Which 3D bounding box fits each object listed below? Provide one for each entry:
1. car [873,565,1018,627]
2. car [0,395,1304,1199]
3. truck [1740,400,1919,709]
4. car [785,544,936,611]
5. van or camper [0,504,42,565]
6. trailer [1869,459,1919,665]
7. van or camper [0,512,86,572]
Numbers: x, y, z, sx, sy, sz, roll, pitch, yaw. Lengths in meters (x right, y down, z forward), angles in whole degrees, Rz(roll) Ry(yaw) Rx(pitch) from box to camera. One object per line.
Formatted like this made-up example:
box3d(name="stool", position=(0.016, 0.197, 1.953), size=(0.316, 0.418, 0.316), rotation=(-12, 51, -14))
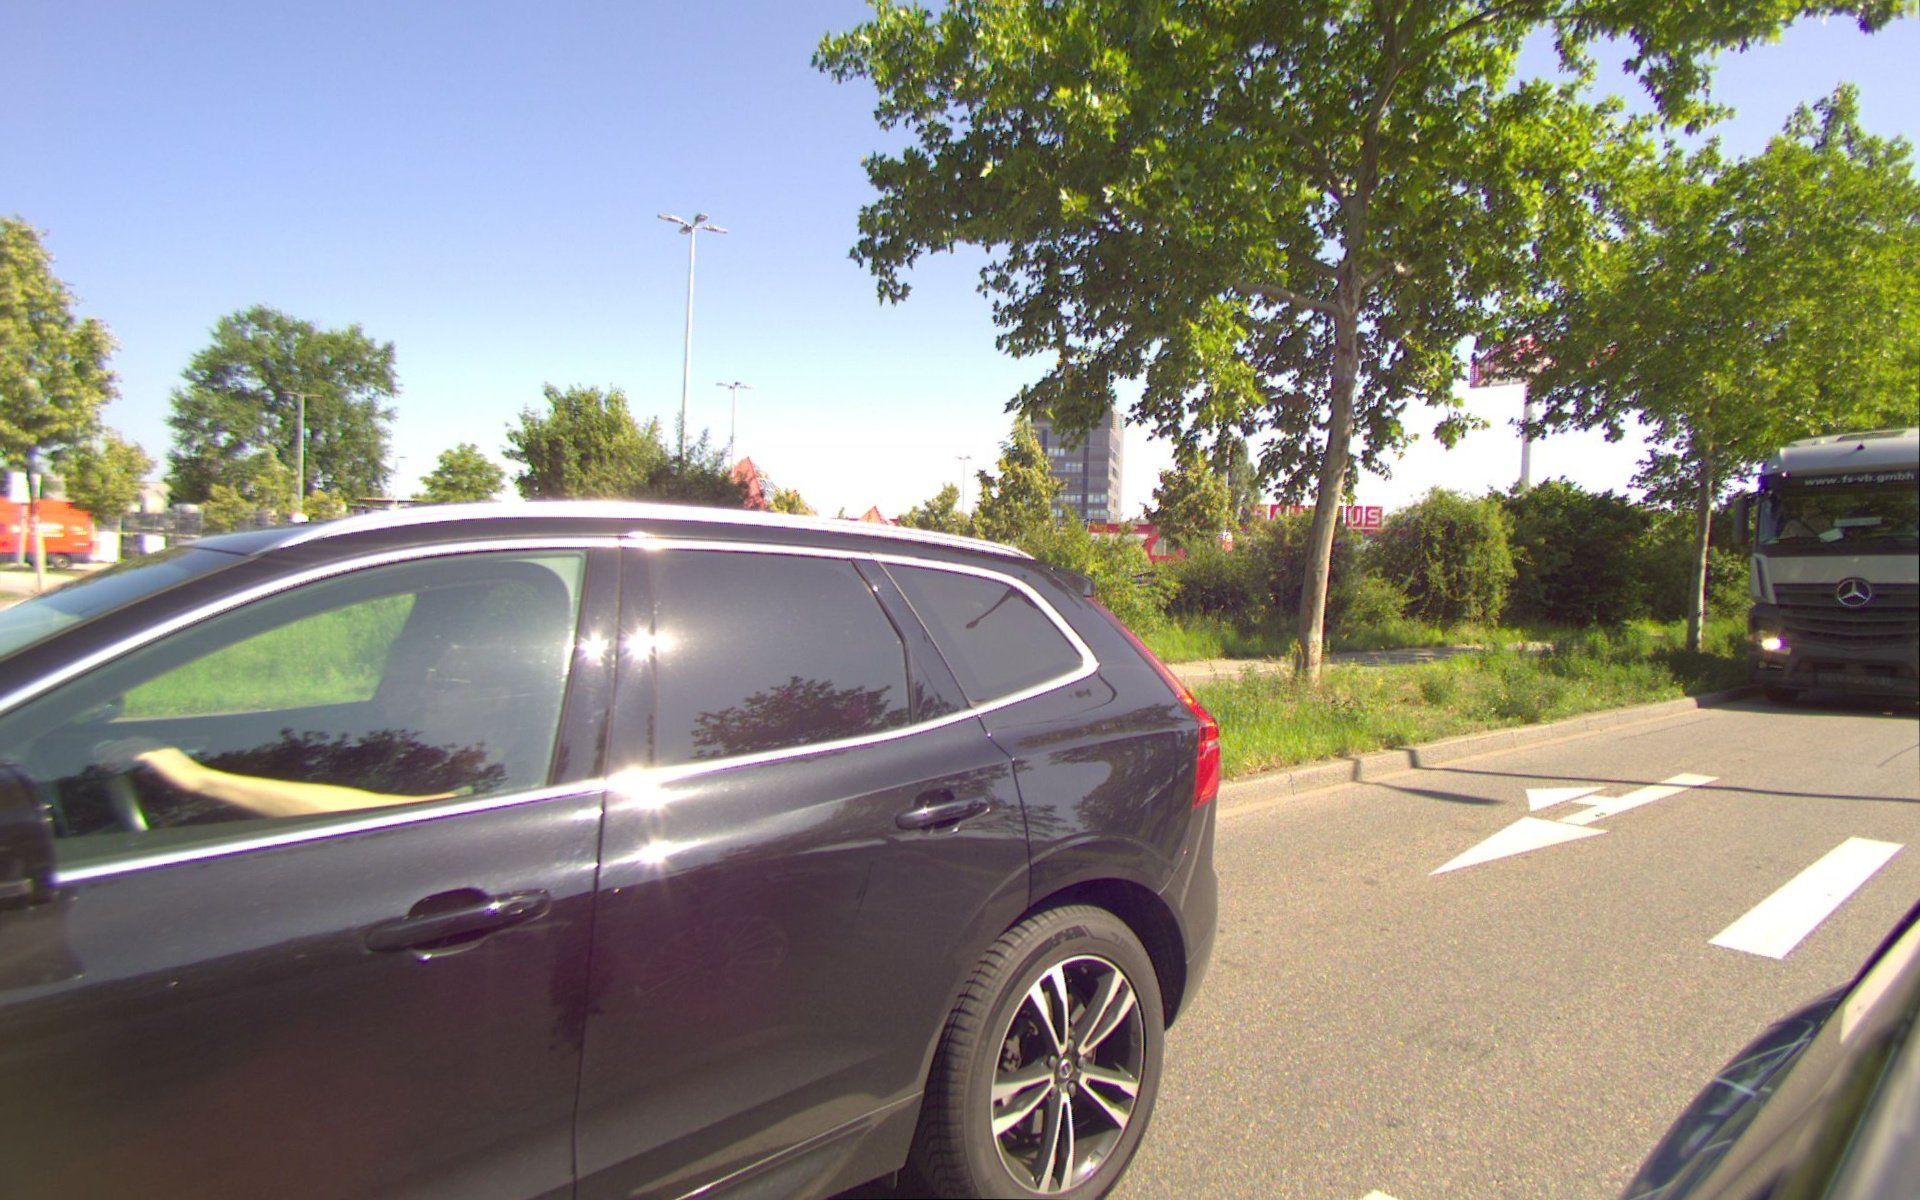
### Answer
box3d(name="car", position=(-0.471, -0.120, 28.418), size=(1.850, 1.611, 4.075), rotation=(-1, 0, -43))
box3d(name="car", position=(-1.304, 0.578, 2.081), size=(4.356, 1.611, 1.878), rotation=(-1, 0, -41))
box3d(name="truck", position=(15.325, -0.637, 15.976), size=(8.564, 3.938, 2.737), rotation=(-1, 2, -38))
box3d(name="car", position=(-2.663, -0.553, 26.468), size=(1.850, 1.611, 4.075), rotation=(-1, 0, -43))
box3d(name="van or camper", position=(-48.865, -3.243, 48.586), size=(1.971, 2.979, 7.253), rotation=(0, 0, 15))
box3d(name="trailer", position=(21.617, -0.740, 21.084), size=(7.596, 3.925, 2.743), rotation=(-1, 2, -39))
box3d(name="van or camper", position=(-45.433, -2.720, 47.174), size=(1.971, 2.739, 7.253), rotation=(0, 0, 15))
